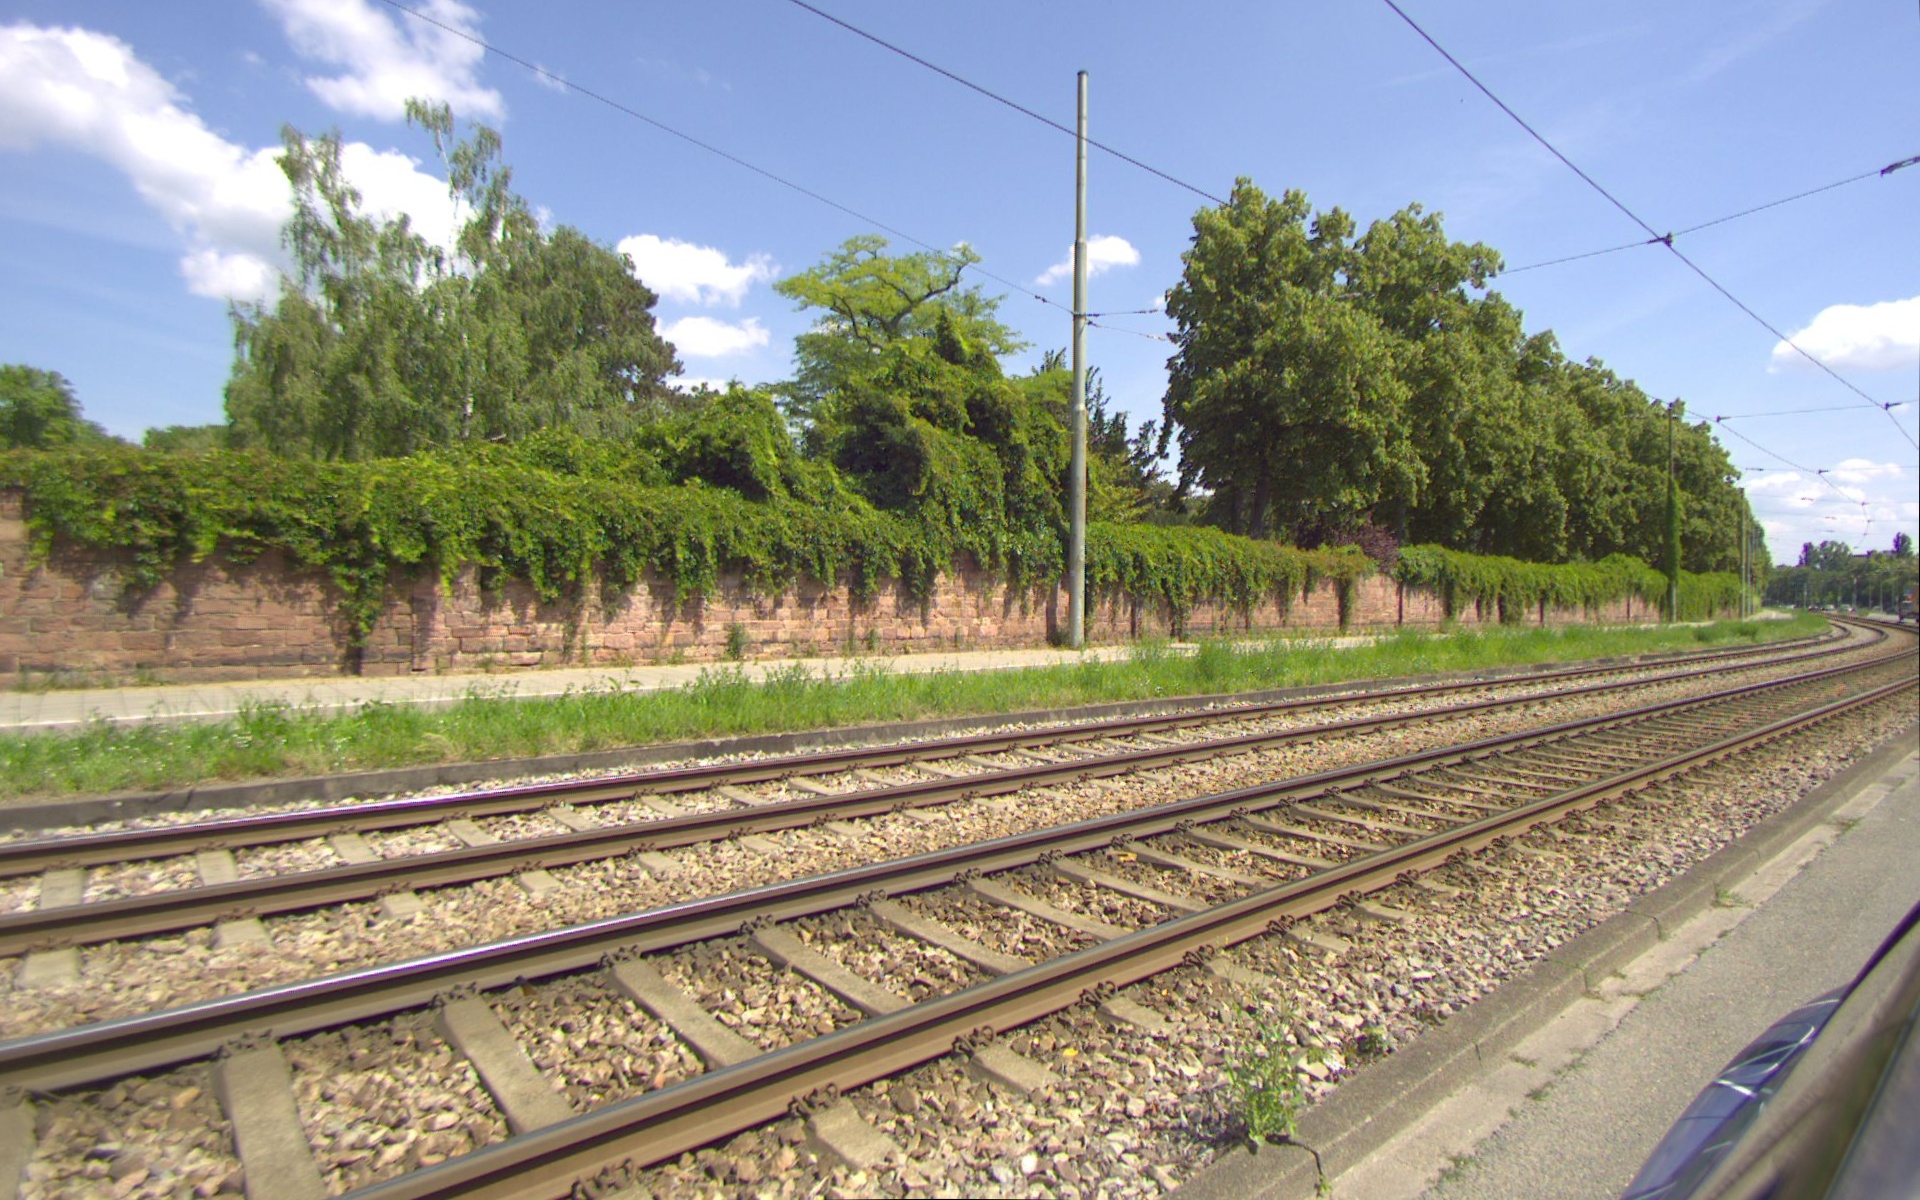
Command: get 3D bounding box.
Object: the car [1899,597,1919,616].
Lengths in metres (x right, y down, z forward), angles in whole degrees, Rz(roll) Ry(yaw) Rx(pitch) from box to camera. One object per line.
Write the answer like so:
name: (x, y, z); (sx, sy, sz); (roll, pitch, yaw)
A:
car: (105.760, 0.752, 112.331); (1.991, 2.039, 3.942); (0, 0, 40)
